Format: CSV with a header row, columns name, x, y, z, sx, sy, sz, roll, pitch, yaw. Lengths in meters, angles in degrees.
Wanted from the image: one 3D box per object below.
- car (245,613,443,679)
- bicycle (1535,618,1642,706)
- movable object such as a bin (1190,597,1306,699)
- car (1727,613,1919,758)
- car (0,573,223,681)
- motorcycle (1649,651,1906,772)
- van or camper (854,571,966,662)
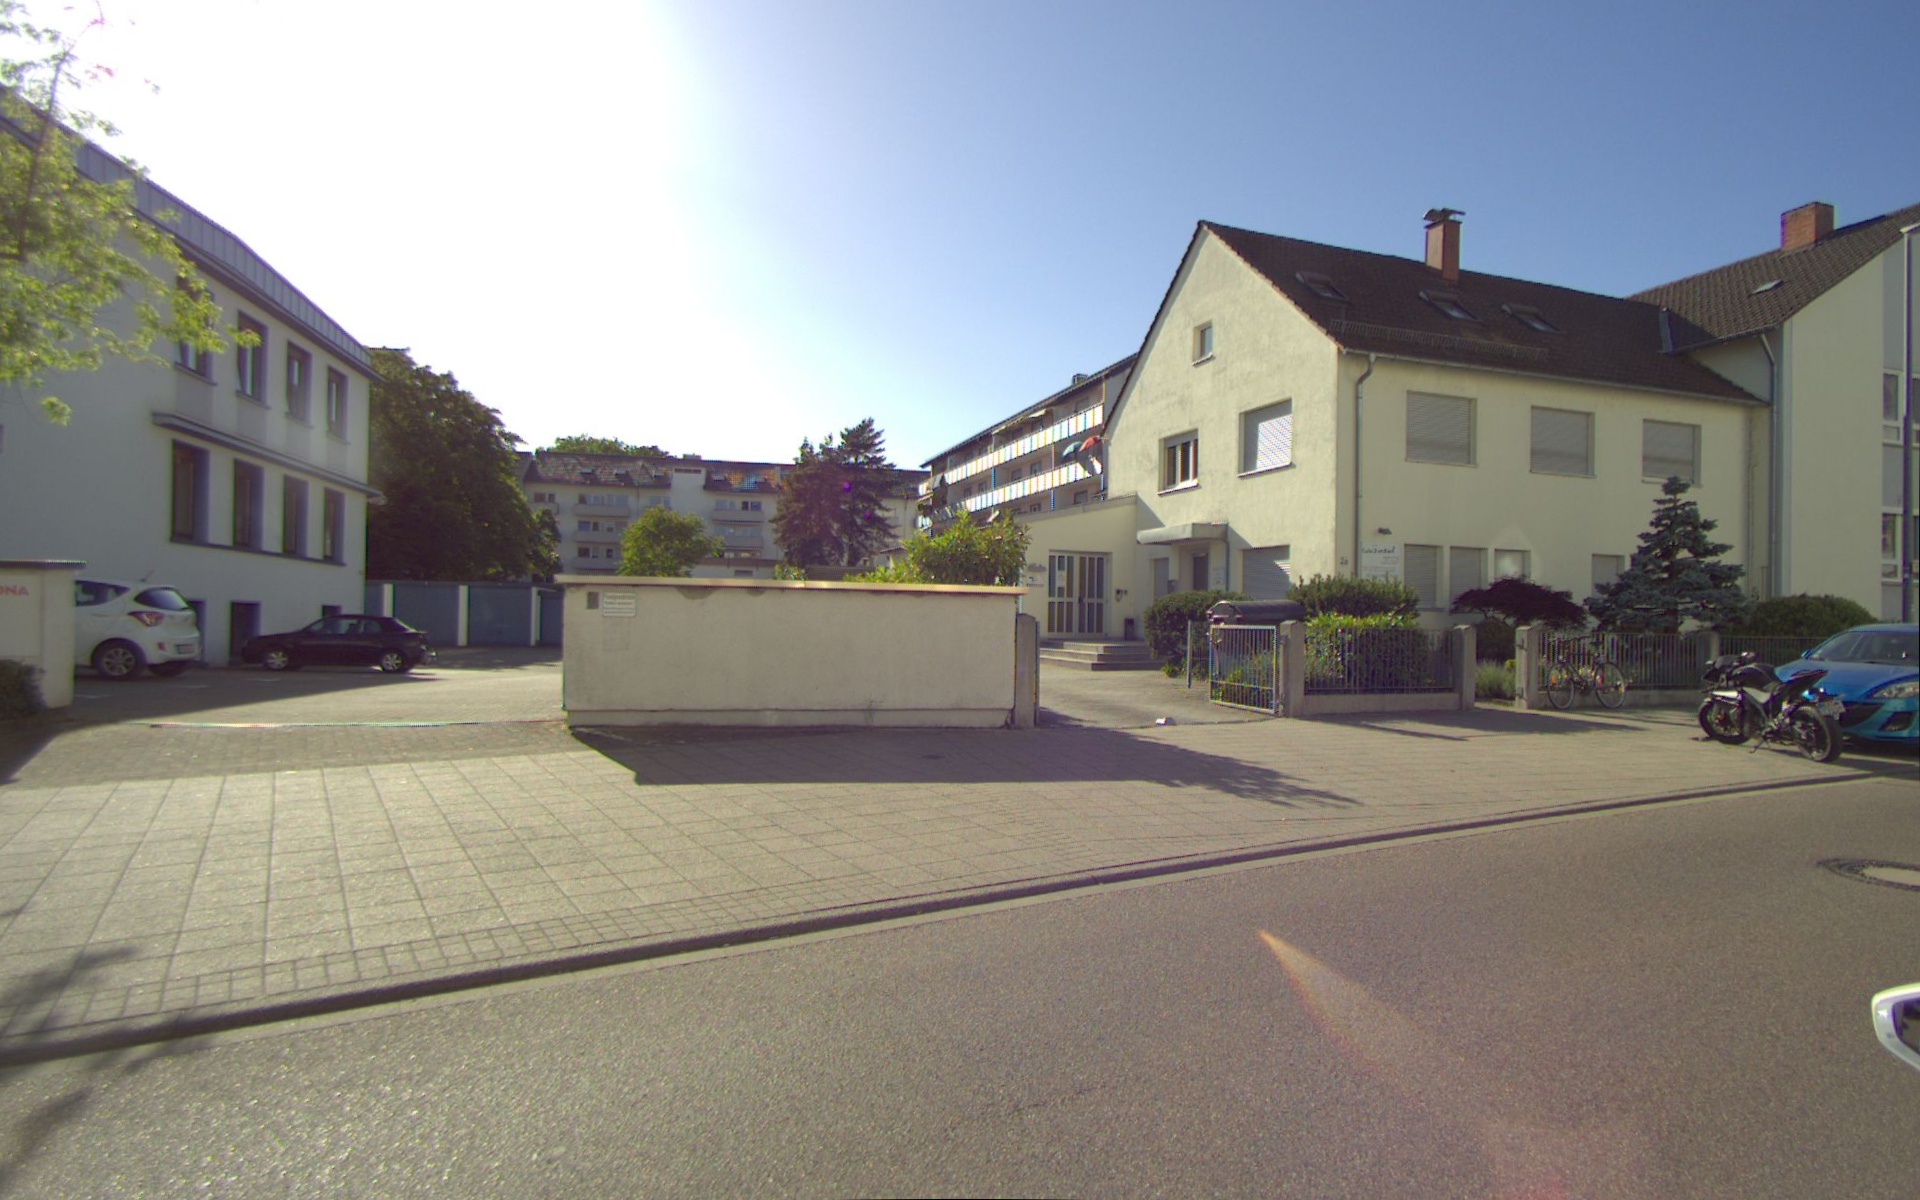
name,x,y,z,sx,sy,sz,roll,pitch,yaw
car,-15.166,1.139,25.017,3.948,1.416,1.987,4,-3,-26
bicycle,9.670,0.967,15.432,1.903,1.266,0.454,4,-2,-27
movable object such as a bin,4.581,0.758,16.044,1.209,1.509,1.280,4,-2,-22
car,11.664,0.954,12.313,4.271,1.493,1.792,1,0,-25
car,-13.581,0.368,14.932,3.789,1.439,1.756,4,-2,-19
motorcycle,8.939,1.165,11.124,0.930,1.033,2.058,0,2,-12
van or camper,-1.614,0.562,29.894,2.115,2.429,5.218,2,-3,-16
